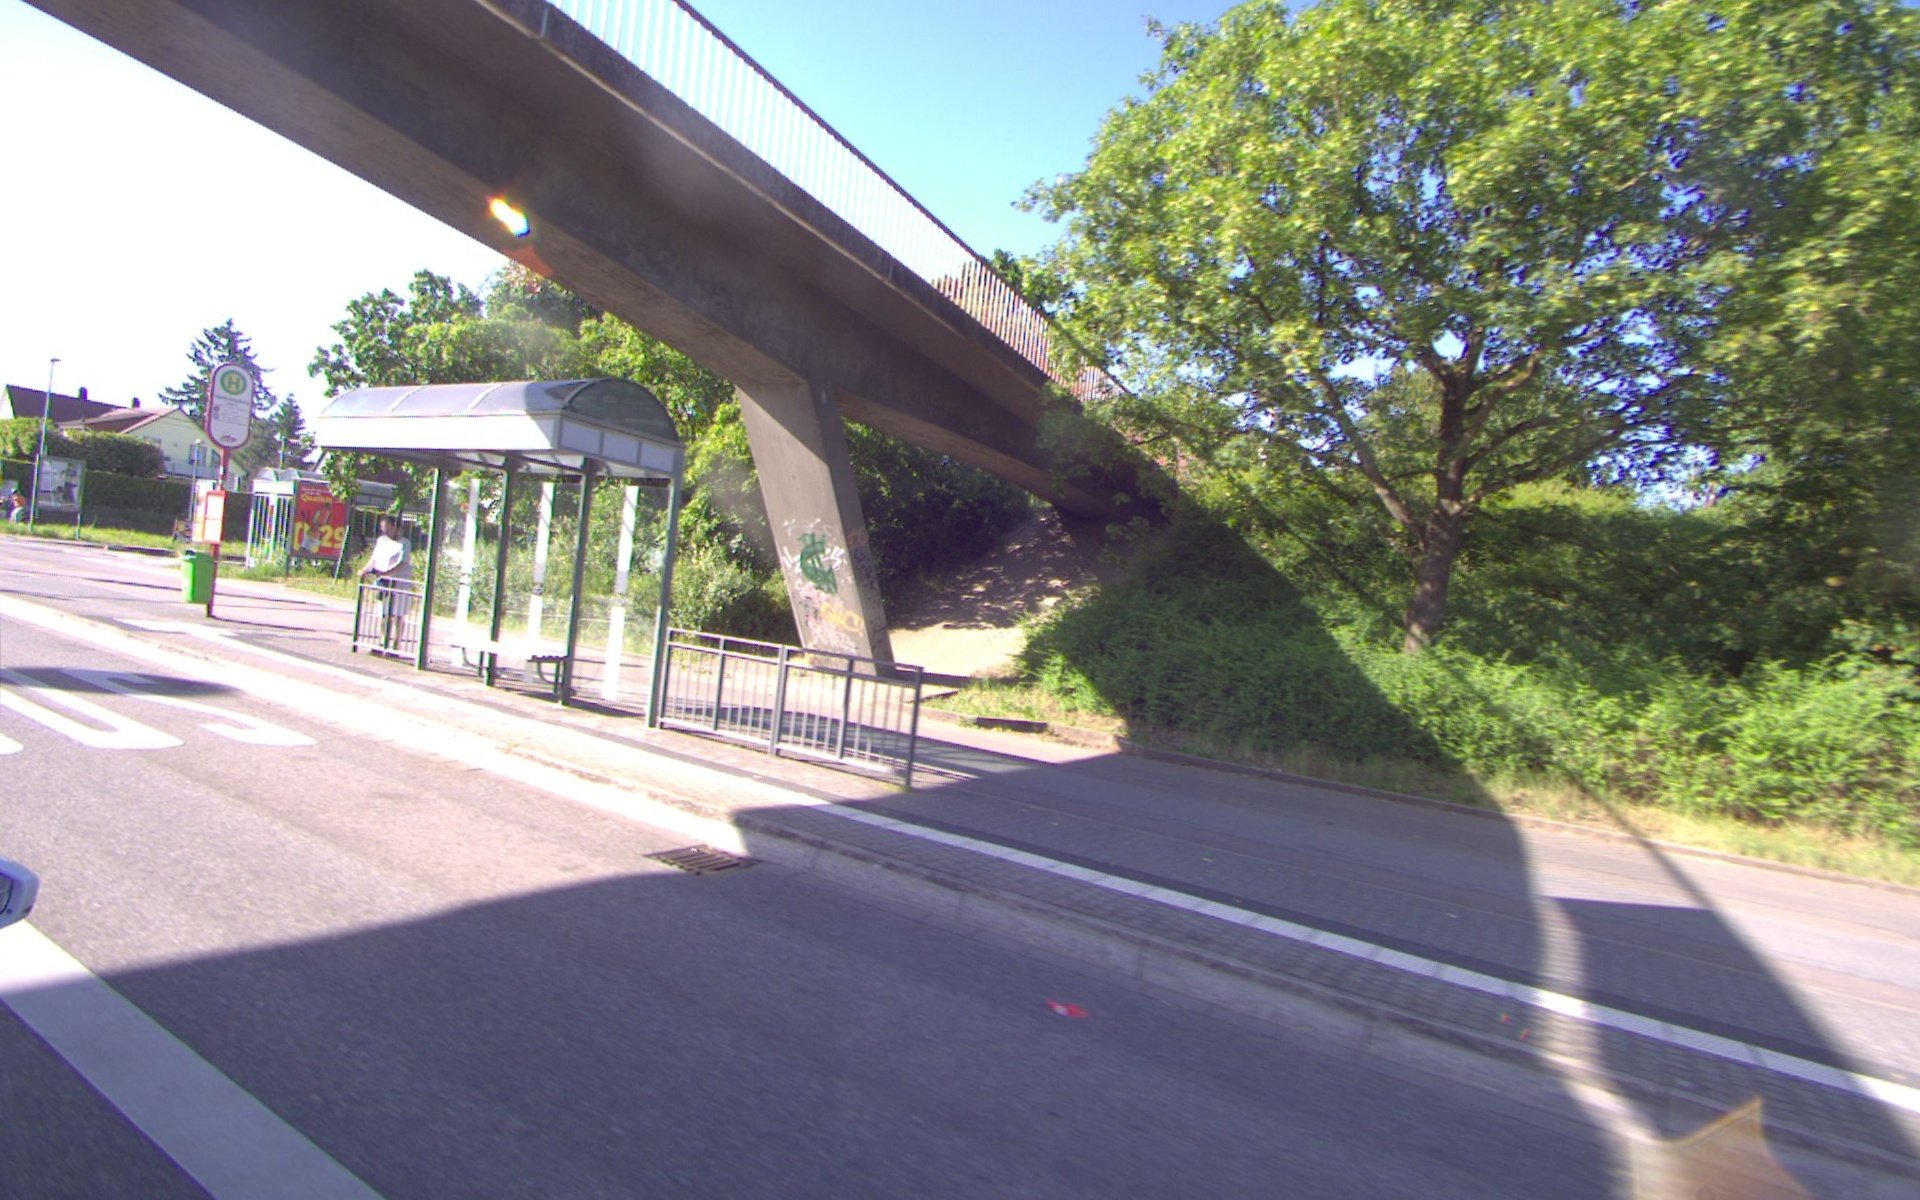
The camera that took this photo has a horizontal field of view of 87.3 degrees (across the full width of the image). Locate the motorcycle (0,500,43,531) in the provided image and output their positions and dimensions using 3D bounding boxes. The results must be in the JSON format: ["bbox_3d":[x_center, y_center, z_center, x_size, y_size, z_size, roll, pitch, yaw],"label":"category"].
[{"bbox_3d":[-39.194,-3.527,41.618,0.445,1.084,1.754,7,0,38],"label":"motorcycle"}]

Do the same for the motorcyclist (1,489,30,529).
[{"bbox_3d":[-39.169,-3.770,41.711,0.689,1.577,0.692,7,1,39],"label":"motorcyclist"}]

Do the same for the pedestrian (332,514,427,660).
[{"bbox_3d":[-7.052,-0.151,12.219,0.704,1.683,0.588,7,1,30],"label":"pedestrian"}]
